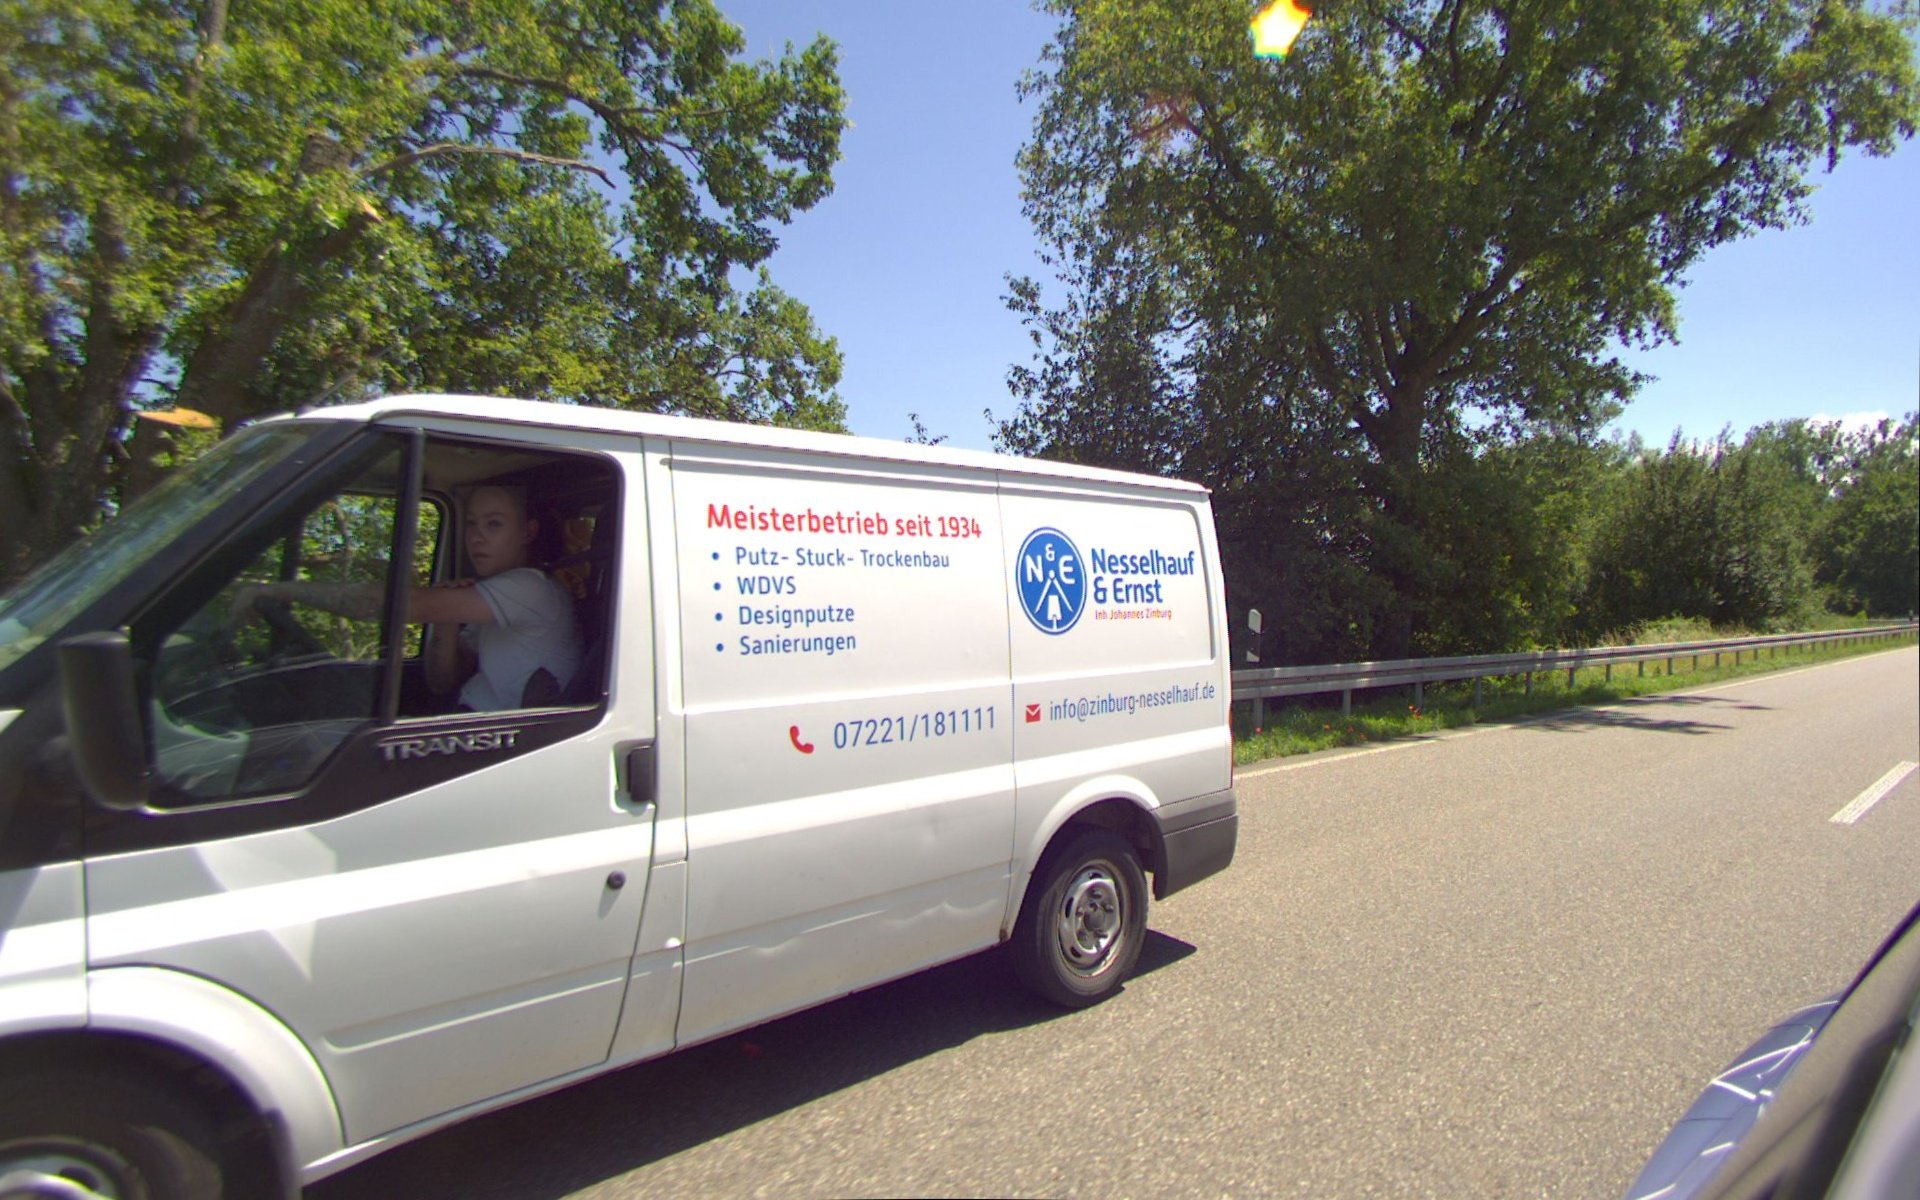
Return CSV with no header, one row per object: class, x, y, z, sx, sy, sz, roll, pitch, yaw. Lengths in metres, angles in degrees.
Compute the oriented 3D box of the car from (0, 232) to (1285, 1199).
car,-1.127,0.358,3.417,4.948,2.013,2.009,0,3,-42
